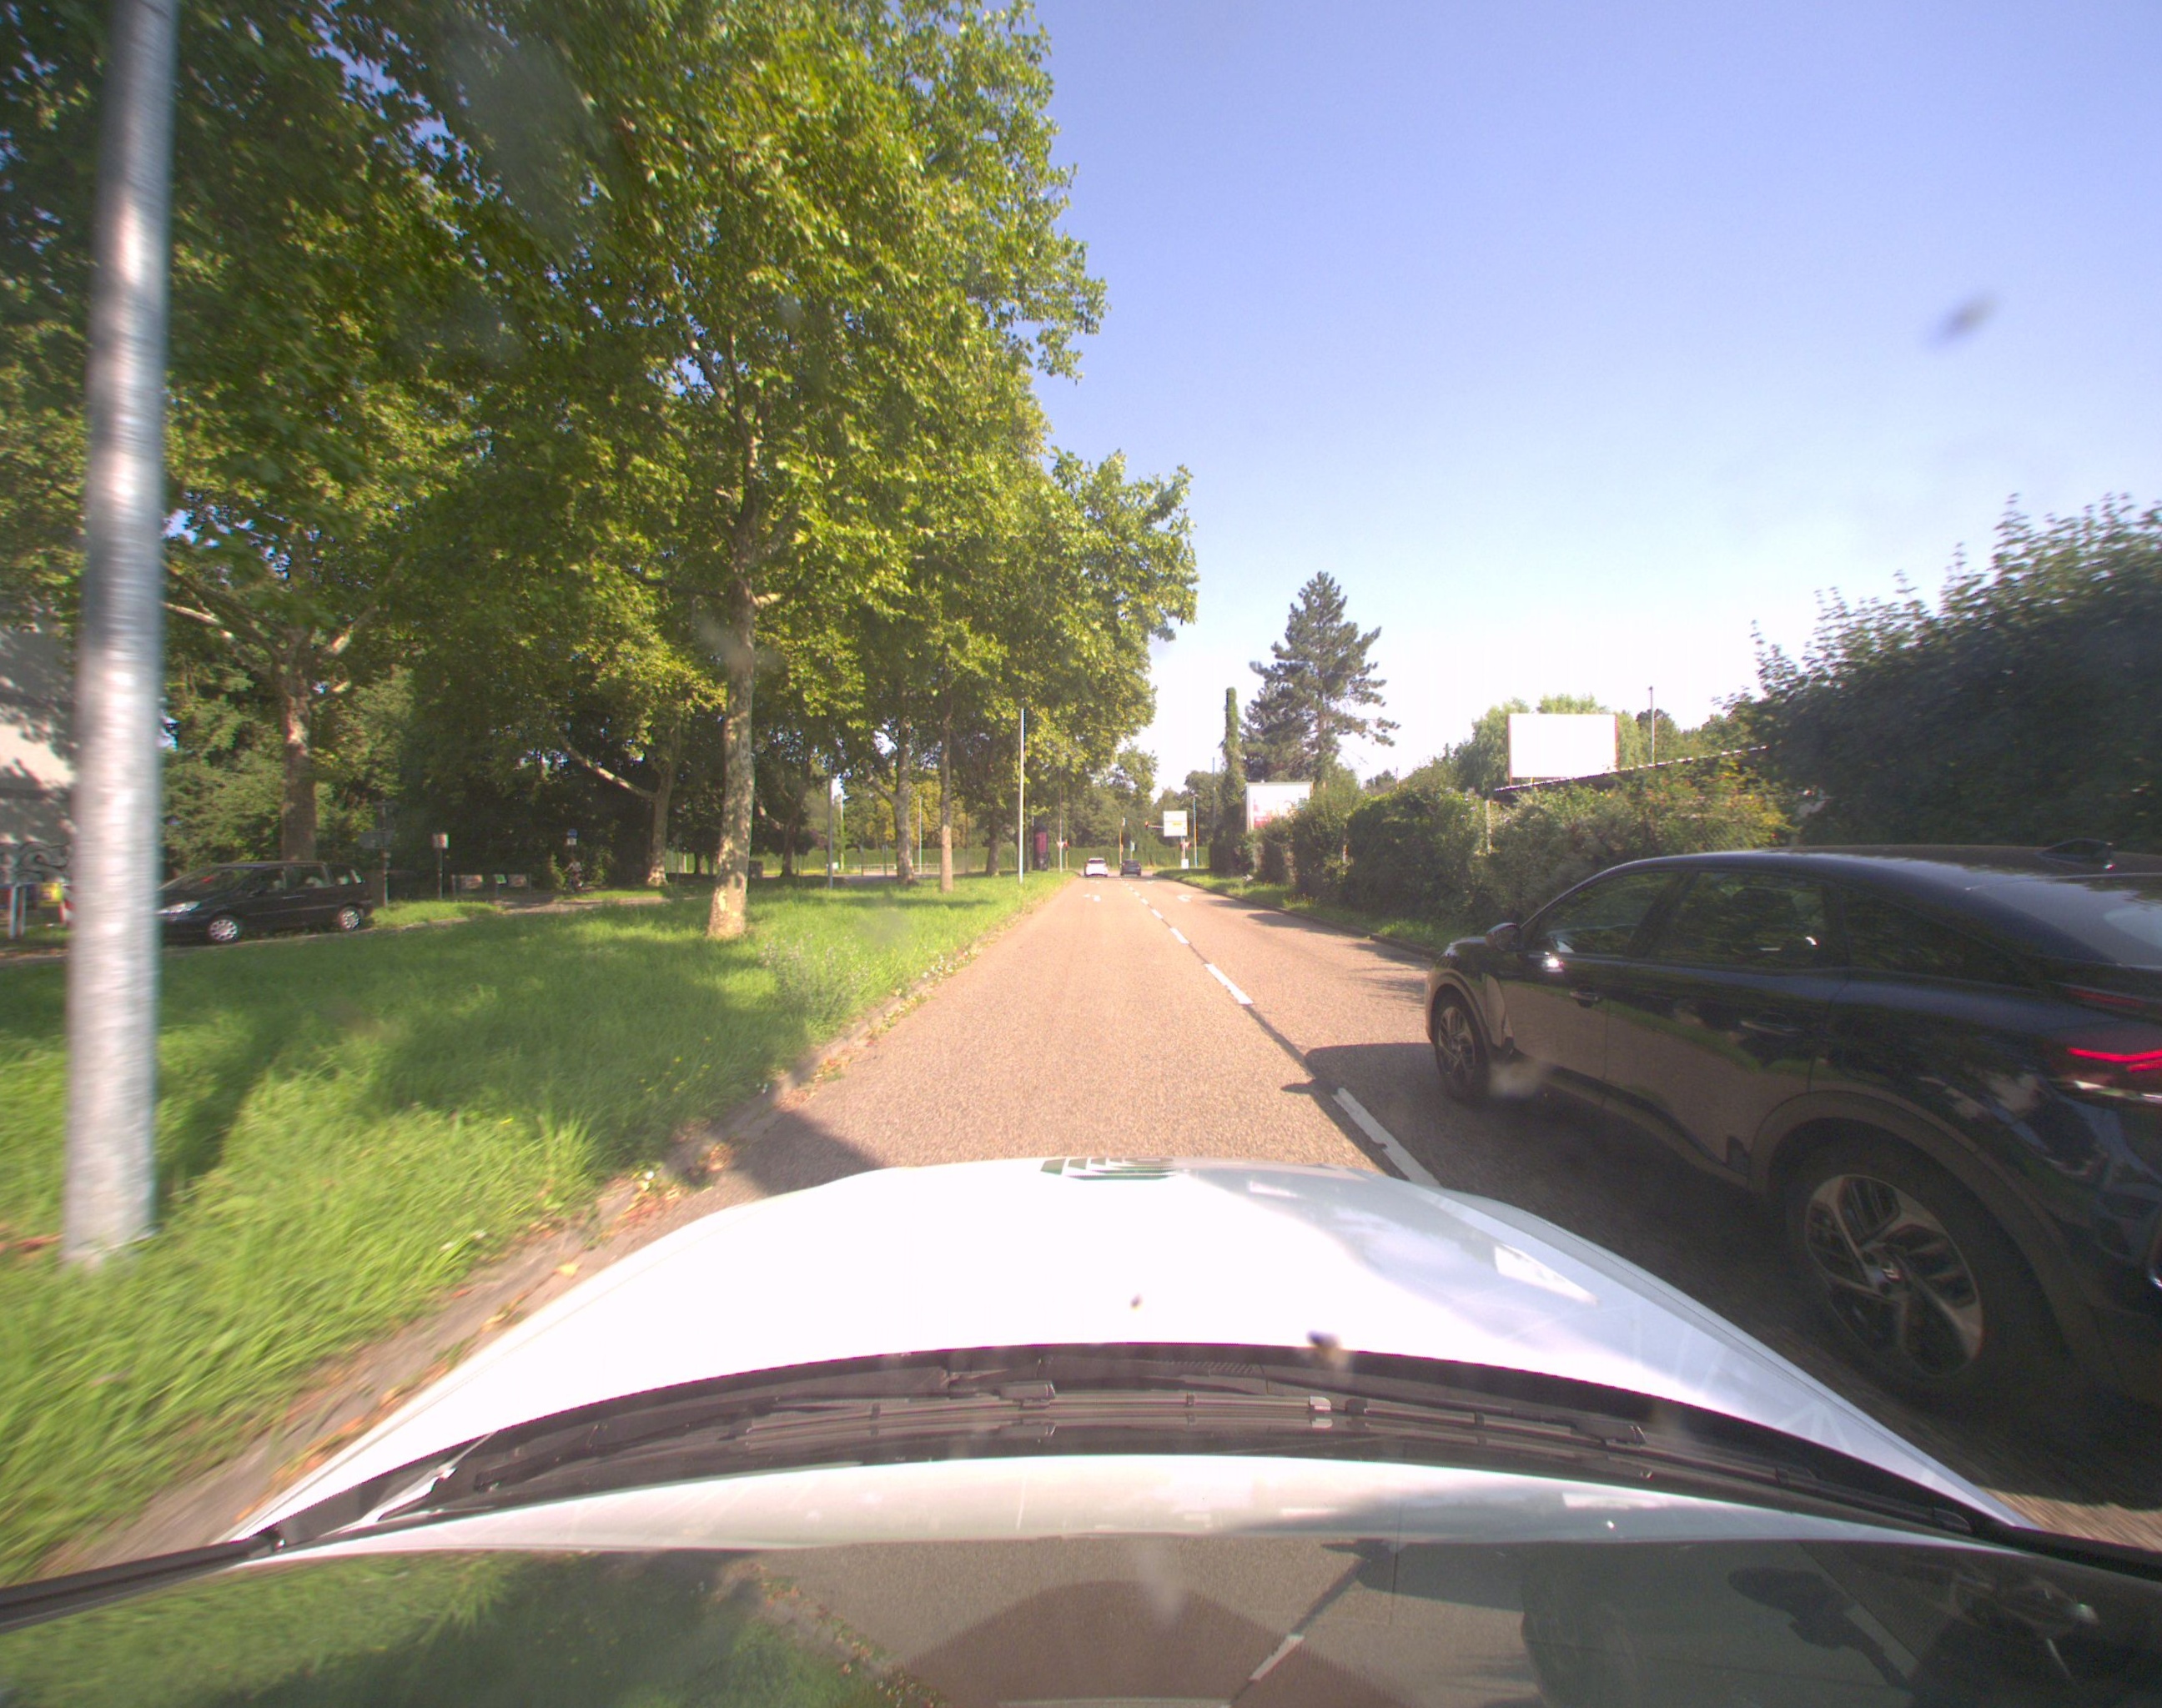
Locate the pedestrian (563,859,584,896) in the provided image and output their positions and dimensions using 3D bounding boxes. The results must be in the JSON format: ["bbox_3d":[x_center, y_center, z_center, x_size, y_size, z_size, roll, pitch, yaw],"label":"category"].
[{"bbox_3d":[-23.770,1.089,38.151,0.541,1.690,0.657,0,0,-2],"label":"pedestrian"}]

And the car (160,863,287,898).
[{"bbox_3d":[-41.512,1.240,39.577,1.688,1.567,4.008,0,0,7],"label":"car"}]

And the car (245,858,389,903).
[{"bbox_3d":[-32.225,1.058,34.549,1.688,1.726,4.397,0,0,7],"label":"car"}]

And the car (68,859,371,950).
[{"bbox_3d":[-18.822,1.008,18.201,1.693,1.732,4.662,0,0,2],"label":"car"}]

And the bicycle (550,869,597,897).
[{"bbox_3d":[-23.769,1.341,38.181,0.543,1.199,2.759,0,0,-2],"label":"bicycle"}]

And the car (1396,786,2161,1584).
[{"bbox_3d":[3.017,0.641,3.661,1.639,1.588,4.256,-1,0,2],"label":"car"}]

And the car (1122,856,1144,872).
[{"bbox_3d":[4.577,0.870,72.575,1.791,1.401,4.001,0,0,1],"label":"car"}]

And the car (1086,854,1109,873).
[{"bbox_3d":[1.304,0.729,63.895,1.681,1.462,4.003,0,0,2],"label":"car"}]
